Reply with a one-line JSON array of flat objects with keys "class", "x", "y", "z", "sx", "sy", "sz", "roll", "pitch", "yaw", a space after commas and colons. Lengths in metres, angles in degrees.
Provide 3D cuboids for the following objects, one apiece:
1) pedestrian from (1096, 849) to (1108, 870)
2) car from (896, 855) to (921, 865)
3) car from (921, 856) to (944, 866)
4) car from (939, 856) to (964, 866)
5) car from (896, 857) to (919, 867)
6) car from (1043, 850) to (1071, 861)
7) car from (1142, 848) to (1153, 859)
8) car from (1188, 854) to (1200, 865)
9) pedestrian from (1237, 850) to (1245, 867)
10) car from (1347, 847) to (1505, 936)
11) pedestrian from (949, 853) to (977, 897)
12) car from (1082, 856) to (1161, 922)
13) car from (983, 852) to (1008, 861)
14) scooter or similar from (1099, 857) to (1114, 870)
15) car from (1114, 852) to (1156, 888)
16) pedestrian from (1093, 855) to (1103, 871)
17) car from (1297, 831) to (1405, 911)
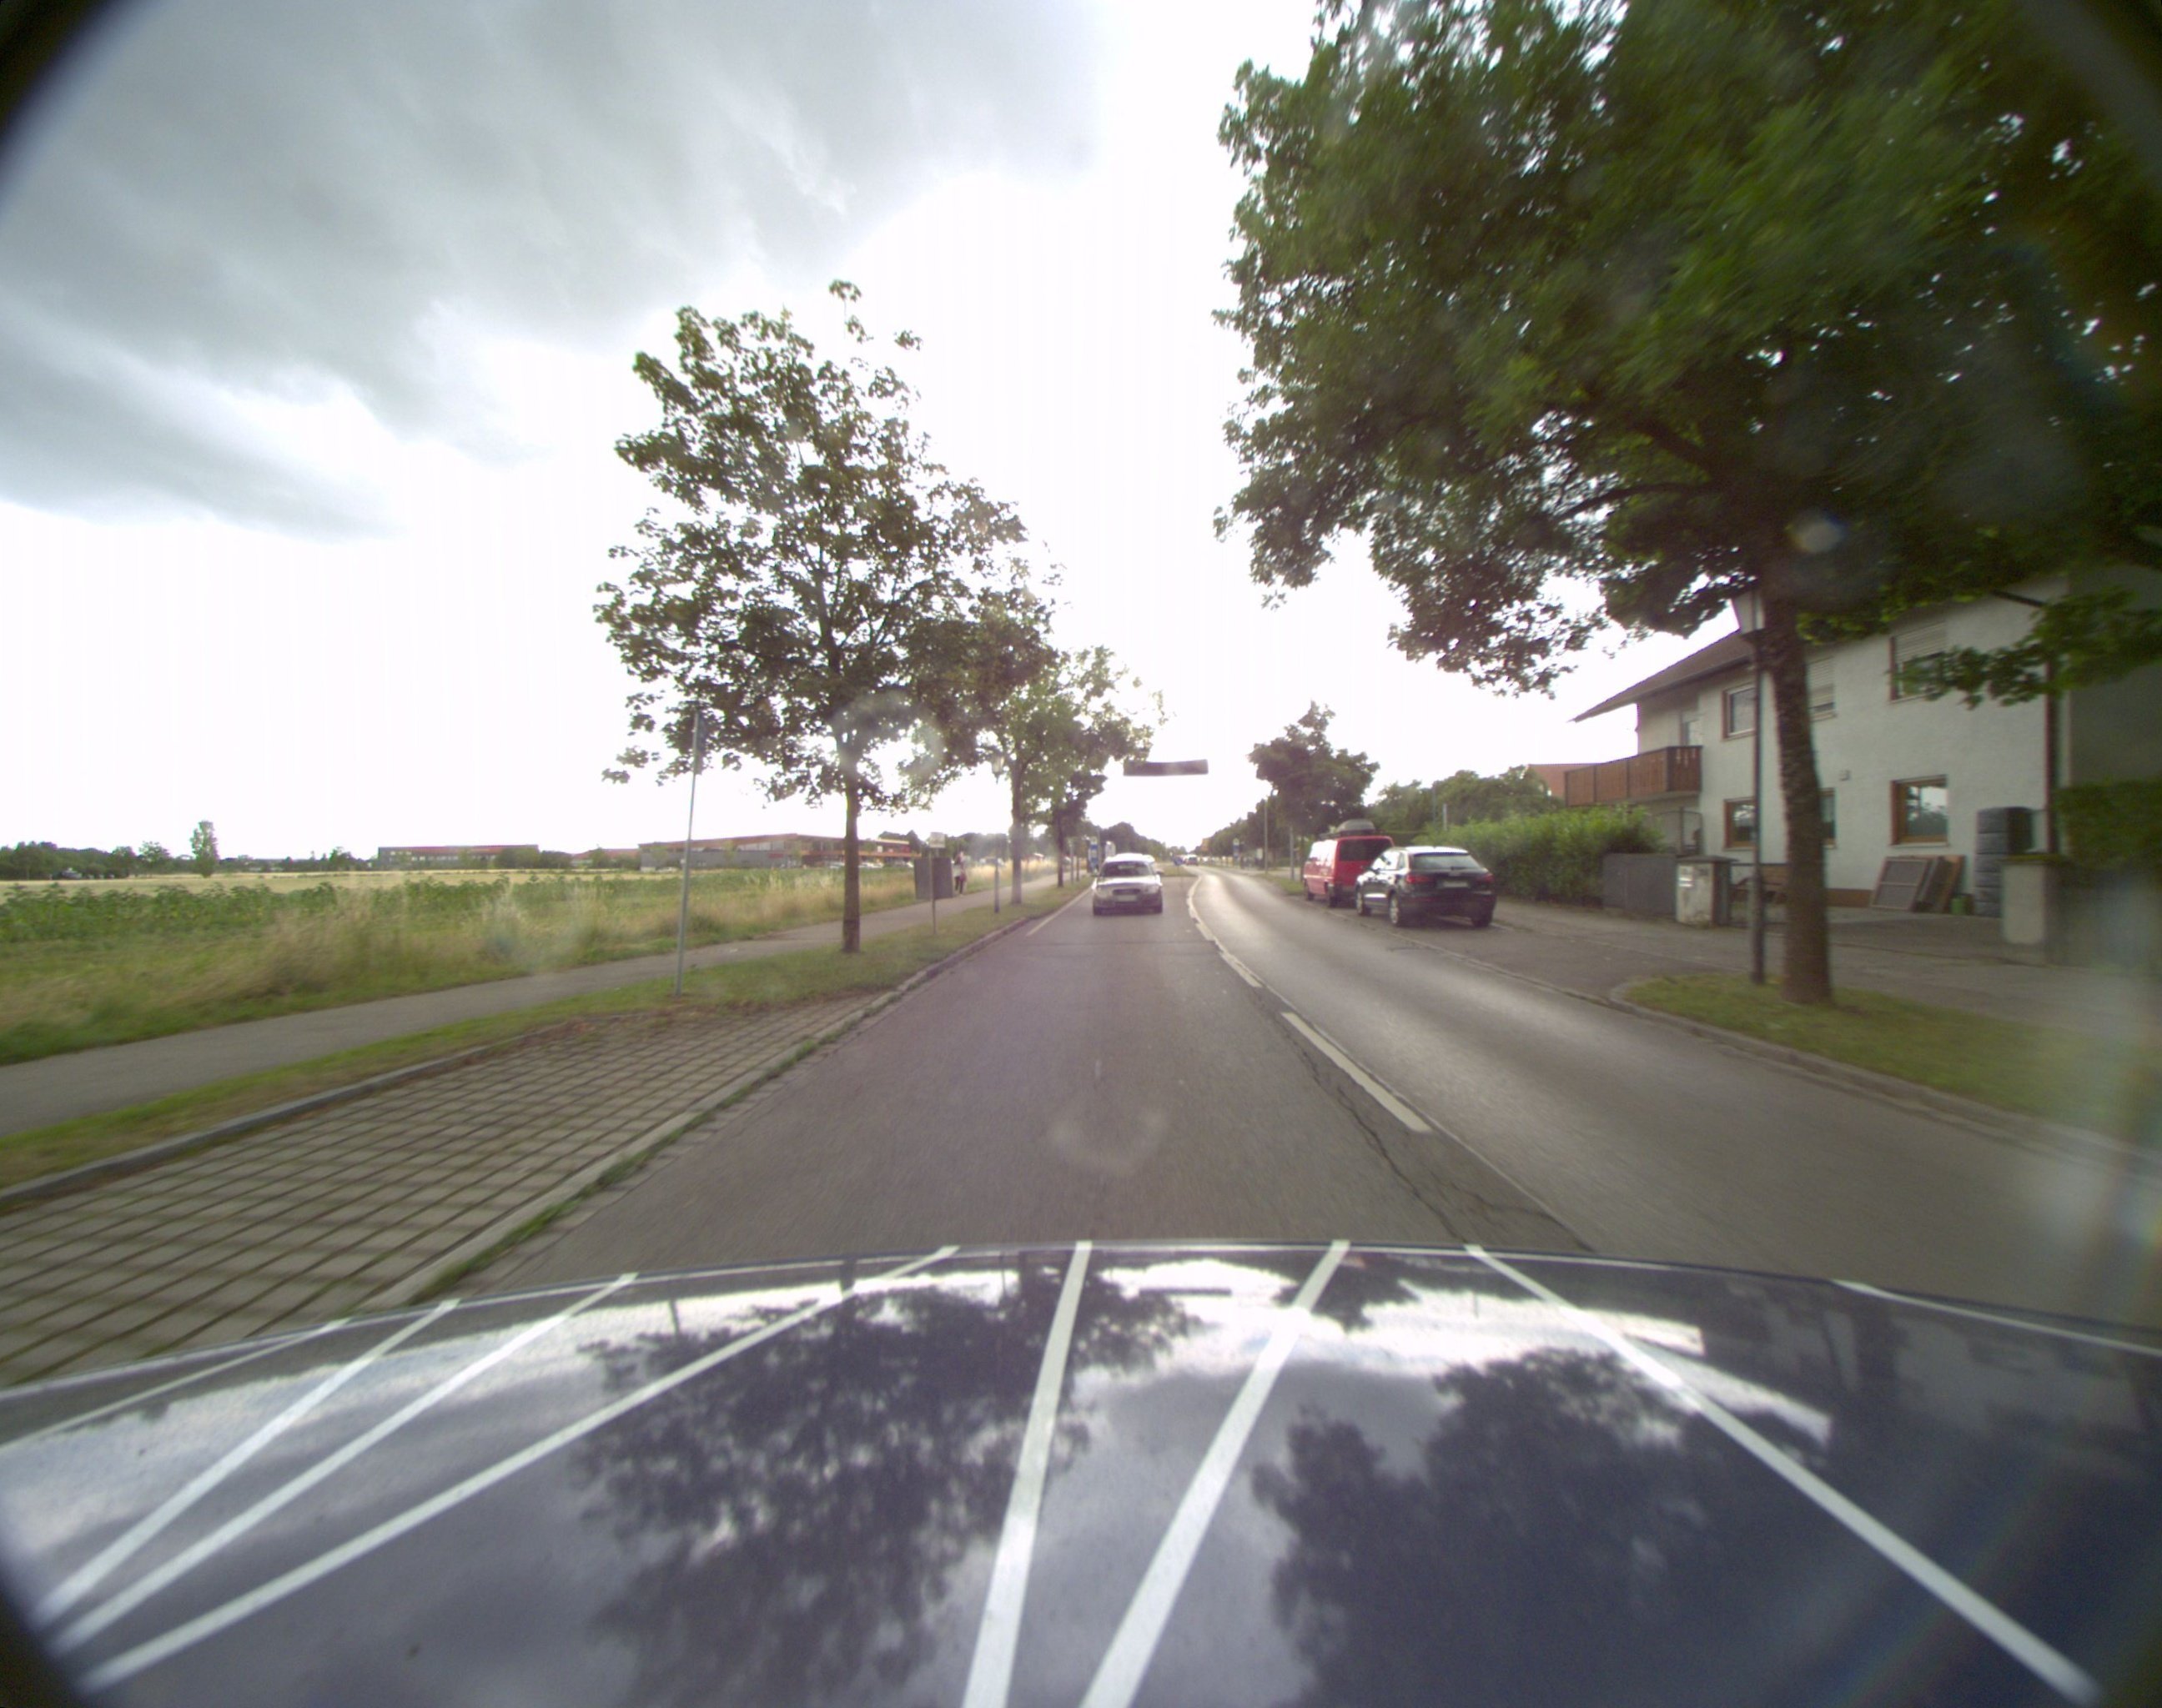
[{"class": "pedestrian", "x": 1.909, "y": 0.505, "z": 68.534, "sx": 0.781, "sy": 1.782, "sz": 0.780, "roll": -3, "pitch": 1, "yaw": 27}, {"class": "car", "x": -37.731, "y": 1.249, "z": 166.256, "sx": 4.856, "sy": 2.002, "sz": 1.999, "roll": -3, "pitch": 1, "yaw": -2}, {"class": "car", "x": -33.005, "y": 1.601, "z": 168.950, "sx": 4.856, "sy": 2.002, "sz": 1.999, "roll": -3, "pitch": 1, "yaw": -2}, {"class": "car", "x": -31.359, "y": 1.685, "z": 183.980, "sx": 5.525, "sy": 2.002, "sz": 2.000, "roll": -3, "pitch": 1, "yaw": -1}, {"class": "car", "x": -39.431, "y": 1.888, "z": 172.806, "sx": 4.856, "sy": 2.002, "sz": 1.999, "roll": -3, "pitch": 1, "yaw": -2}, {"class": "car", "x": -4.761, "y": 0.334, "z": 152.731, "sx": 5.525, "sy": 2.002, "sz": 2.000, "roll": -3, "pitch": 1, "yaw": -1}, {"class": "car", "x": 11.945, "y": -0.043, "z": 136.762, "sx": 1.998, "sy": 2.002, "sz": 4.001, "roll": 0, "pitch": 0, "yaw": 3}, {"class": "car", "x": 17.071, "y": 0.821, "z": 114.598, "sx": 1.710, "sy": 1.523, "sz": 3.509, "roll": 1, "pitch": 0, "yaw": 8}, {"class": "pedestrian", "x": 15.053, "y": 0.437, "z": 71.392, "sx": 0.589, "sy": 1.627, "sz": 0.813, "roll": -1, "pitch": 0, "yaw": 5}, {"class": "car", "x": 7.096, "y": 0.702, "z": 16.136, "sx": 1.775, "sy": 1.588, "sz": 4.240, "roll": -2, "pitch": 0, "yaw": 6}, {"class": "pedestrian", "x": -4.805, "y": 0.833, "z": 30.963, "sx": 0.839, "sy": 1.744, "sz": 0.870, "roll": -2, "pitch": 1, "yaw": 10}, {"class": "car", "x": 1.154, "y": 0.828, "z": 19.998, "sx": 1.762, "sy": 1.410, "sz": 4.522, "roll": -3, "pitch": 0, "yaw": 5}, {"class": "car", "x": -19.949, "y": 0.590, "z": 178.087, "sx": 5.525, "sy": 2.002, "sz": 2.000, "roll": -3, "pitch": 1, "yaw": -1}, {"class": "scooter or similar", "x": 2.218, "y": 0.816, "z": 65.048, "sx": 0.707, "sy": 1.056, "sz": 1.062, "roll": -2, "pitch": 1, "yaw": 42}, {"class": "car", "x": 2.569, "y": 0.692, "z": 35.294, "sx": 1.762, "sy": 1.495, "sz": 4.693, "roll": -3, "pitch": 0, "yaw": 5}, {"class": "pedestrian", "x": 1.445, "y": 0.742, "z": 64.582, "sx": 0.666, "sy": 1.295, "sz": 0.505, "roll": -3, "pitch": 1, "yaw": 6}, {"class": "car", "x": 7.666, "y": 0.450, "z": 22.100, "sx": 1.834, "sy": 2.018, "sz": 5.048, "roll": -1, "pitch": 0, "yaw": 6}]
